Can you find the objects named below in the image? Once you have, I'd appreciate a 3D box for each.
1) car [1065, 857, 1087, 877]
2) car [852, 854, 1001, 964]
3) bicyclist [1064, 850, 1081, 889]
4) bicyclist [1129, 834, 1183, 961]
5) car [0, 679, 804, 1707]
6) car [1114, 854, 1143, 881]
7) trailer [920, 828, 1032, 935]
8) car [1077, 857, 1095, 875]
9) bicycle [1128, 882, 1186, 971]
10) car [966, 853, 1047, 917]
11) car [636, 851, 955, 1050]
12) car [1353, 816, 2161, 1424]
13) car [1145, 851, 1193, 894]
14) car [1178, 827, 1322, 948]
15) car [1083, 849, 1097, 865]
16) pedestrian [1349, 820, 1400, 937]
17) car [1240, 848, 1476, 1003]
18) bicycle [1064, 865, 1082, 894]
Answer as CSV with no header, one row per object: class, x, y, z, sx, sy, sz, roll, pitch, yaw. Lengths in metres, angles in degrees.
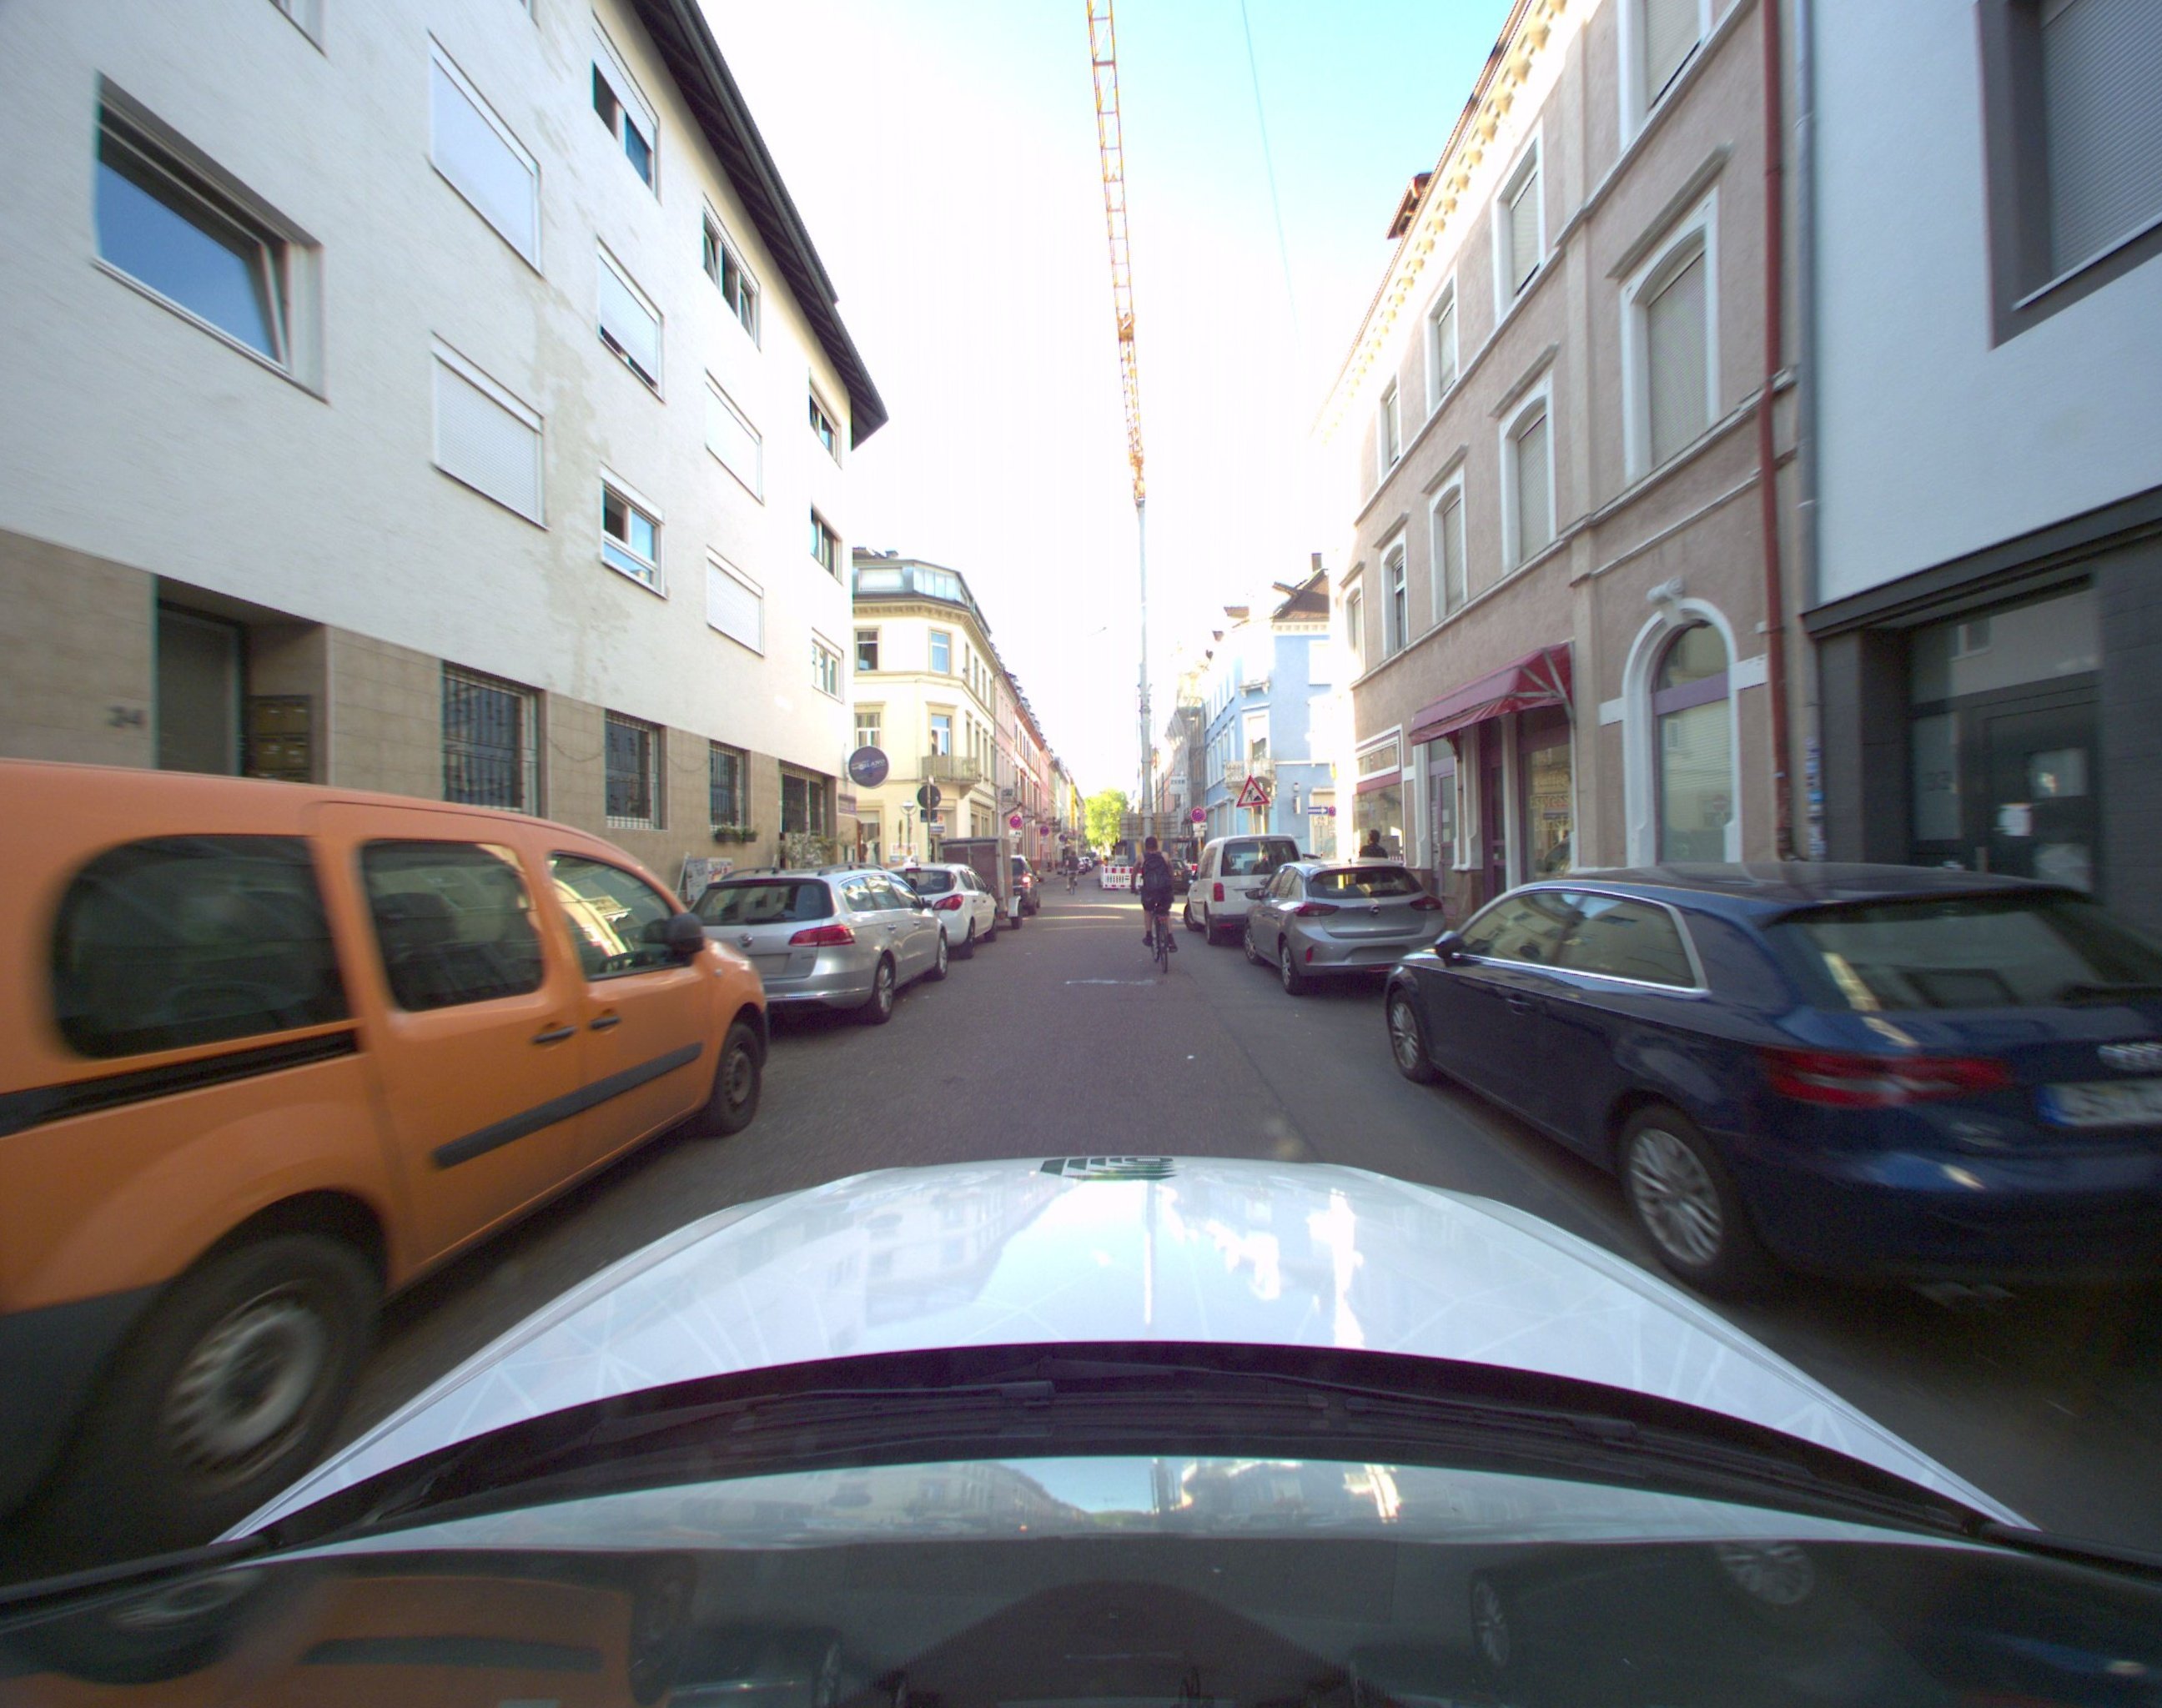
car,-0.414,1.137,71.787,1.743,1.683,3.797,-2,-1,2
car,-2.423,0.828,13.629,1.647,1.537,3.635,-2,-1,2
bicyclist,-0.332,0.614,33.249,0.668,1.567,0.716,0,-1,1
bicyclist,1.017,0.578,11.254,0.665,1.677,1.097,0,-1,1
car,-2.739,0.663,3.199,1.746,1.816,4.079,-3,-1,1
car,2.820,0.799,48.744,1.605,1.560,3.611,0,-1,2
trailer,-2.250,0.580,18.377,1.875,2.092,3.738,-2,-1,1
car,0.558,1.319,88.787,1.743,1.821,3.797,-2,-1,2
bicycle,1.016,0.951,11.273,0.674,1.074,1.942,0,-1,1
car,-1.996,0.828,22.815,1.743,1.573,3.797,-2,-1,2
car,-2.637,0.807,8.725,1.743,1.537,4.320,-2,-1,2
car,2.864,0.701,4.107,1.640,1.475,3.972,-5,-1,2
car,3.452,0.719,32.365,1.605,1.634,3.611,0,-1,2
car,2.950,0.566,15.052,1.745,1.879,3.971,-2,-1,-1
car,1.316,0.460,118.019,1.743,2.318,3.797,-2,-1,2
pedestrian,5.165,0.422,14.368,0.642,2.014,0.764,0,-1,1
car,3.113,0.736,9.979,1.743,1.487,3.802,-2,-1,3
bicycle,-0.318,1.012,33.210,0.646,1.129,2.136,0,-1,2
